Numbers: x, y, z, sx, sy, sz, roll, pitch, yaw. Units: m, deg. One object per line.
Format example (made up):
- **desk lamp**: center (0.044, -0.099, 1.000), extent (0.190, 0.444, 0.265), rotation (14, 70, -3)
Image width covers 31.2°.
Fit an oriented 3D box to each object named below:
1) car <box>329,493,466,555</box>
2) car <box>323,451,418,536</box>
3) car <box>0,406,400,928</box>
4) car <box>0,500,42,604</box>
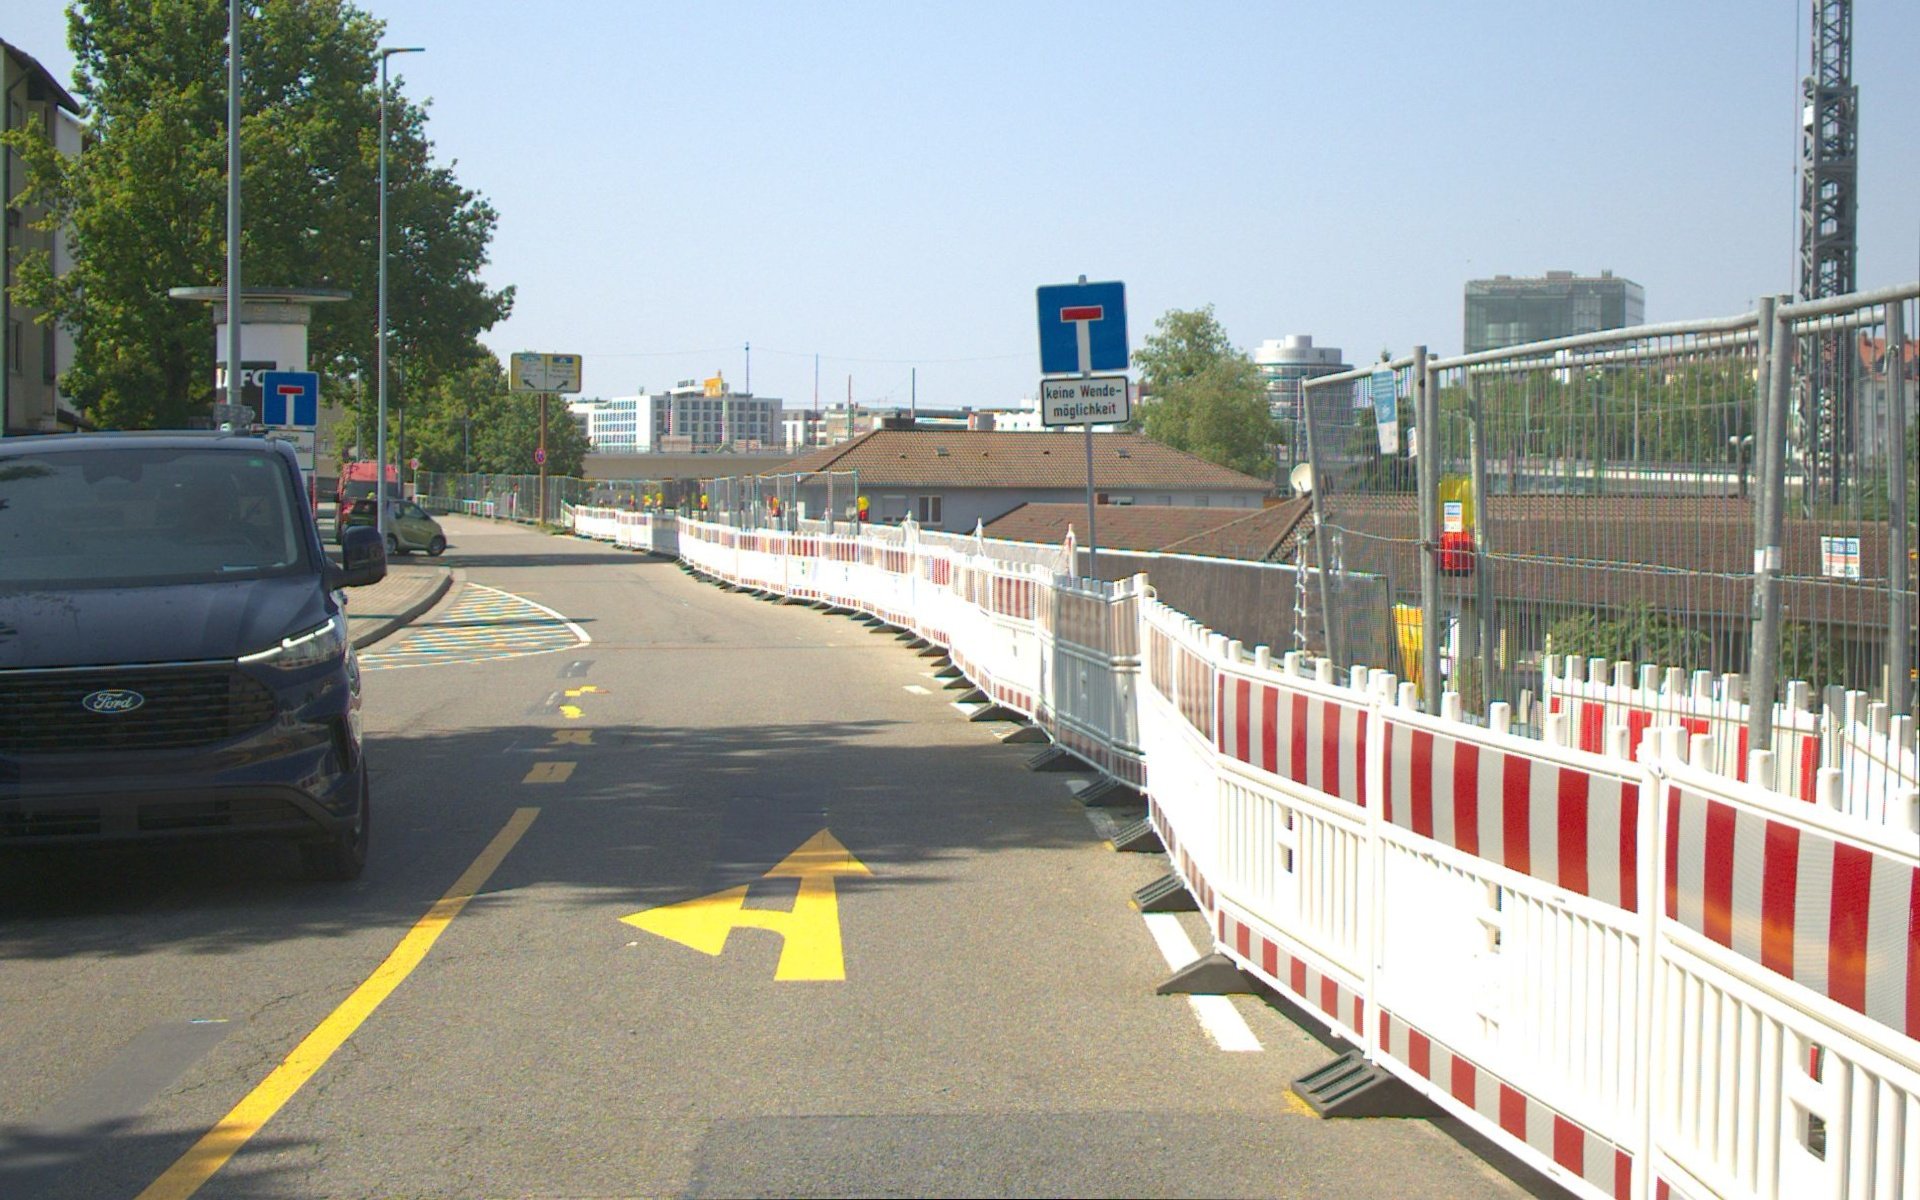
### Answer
- **car**: center (-15.306, -2.065, 93.645), extent (1.725, 1.632, 3.273), rotation (2, 1, 43)
- **car**: center (-18.367, -3.288, 107.368), extent (2.537, 2.511, 5.119), rotation (1, 1, -6)
- **car**: center (-3.778, 0.169, 15.987), extent (2.176, 1.961, 5.446), rotation (-2, 2, -10)
- **car**: center (-16.048, -0.809, 55.751), extent (1.856, 1.623, 4.001), rotation (0, 2, -20)
